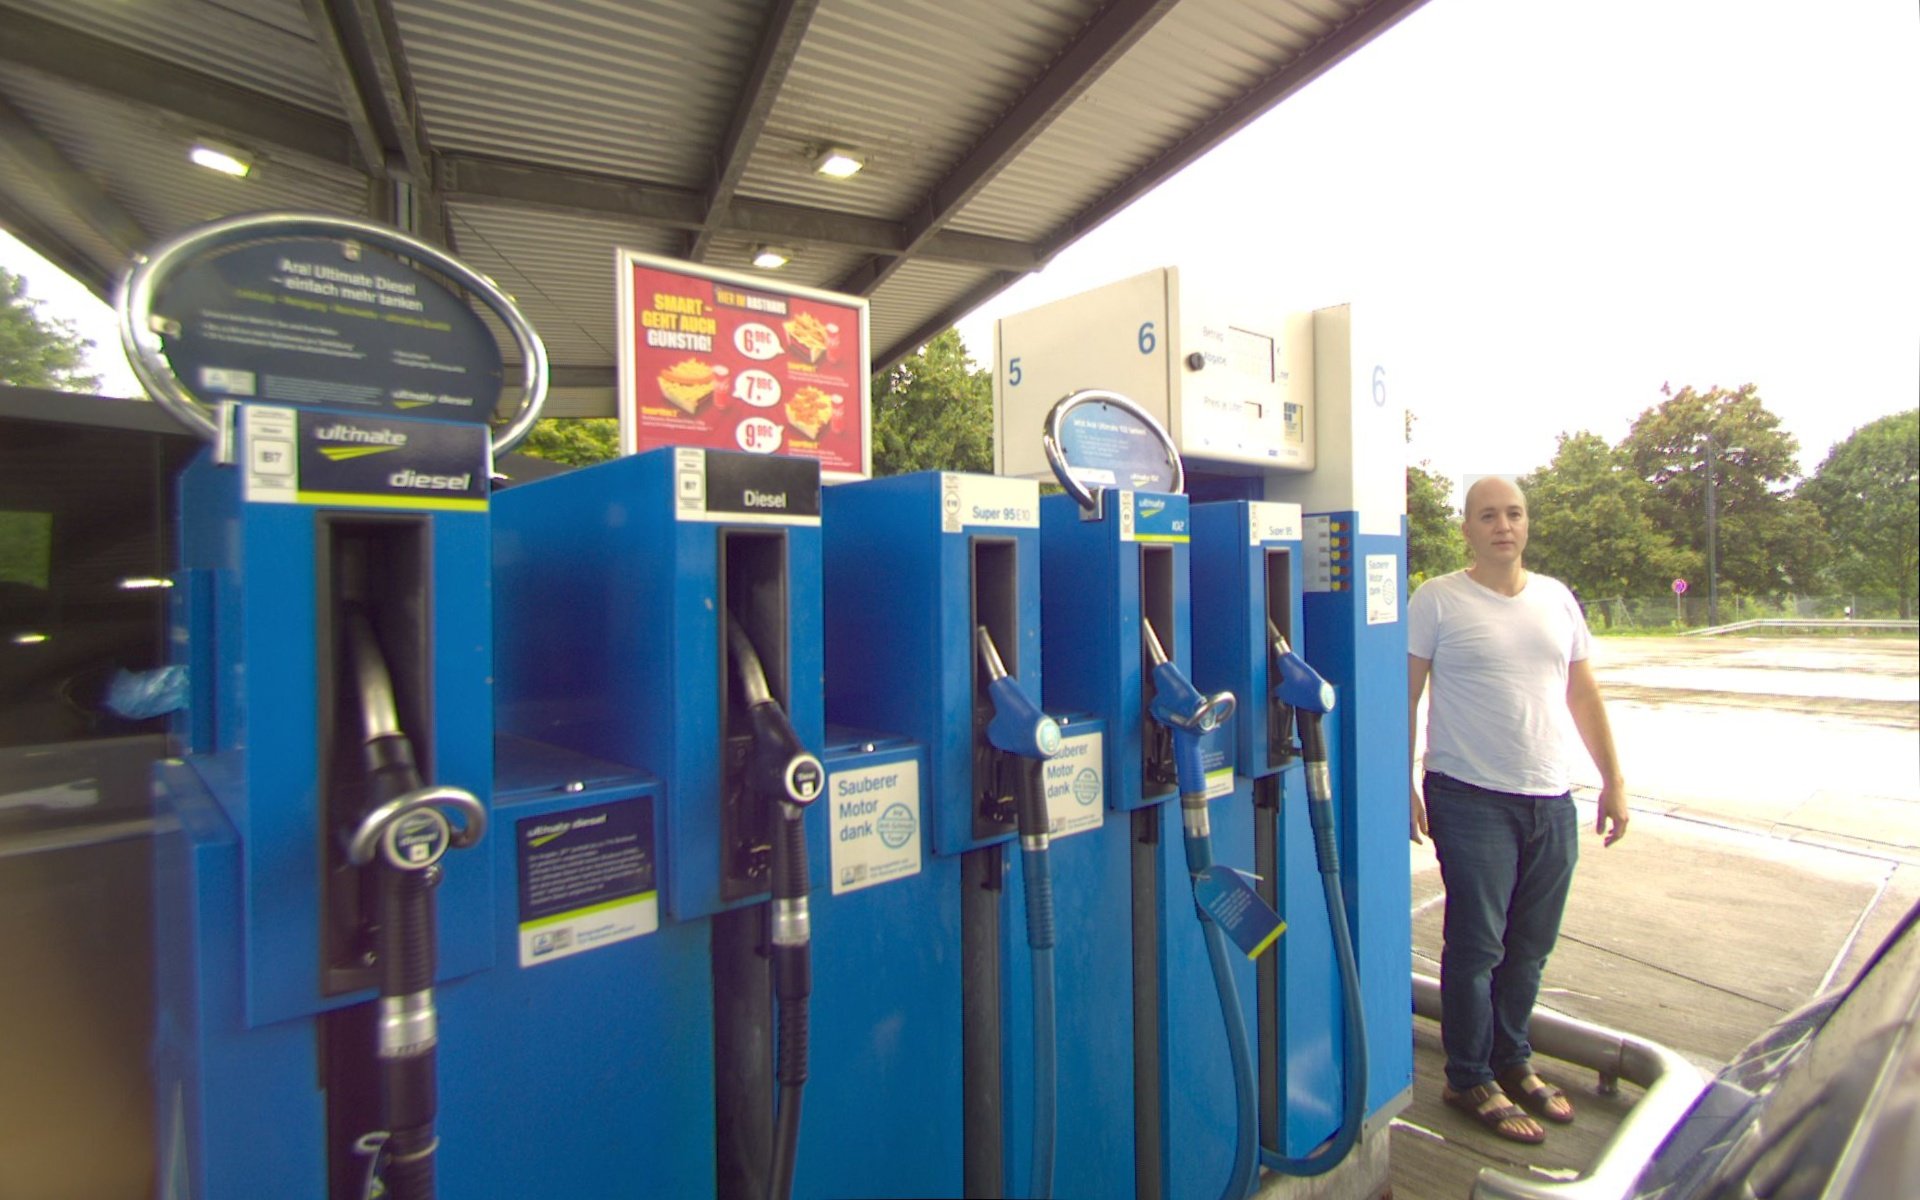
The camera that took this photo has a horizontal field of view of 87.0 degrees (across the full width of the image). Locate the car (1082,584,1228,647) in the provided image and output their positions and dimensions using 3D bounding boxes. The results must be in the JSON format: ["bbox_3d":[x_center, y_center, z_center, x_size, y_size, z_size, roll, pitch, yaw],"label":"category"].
[{"bbox_3d":[5.811,0.417,30.019,4.123,1.752,1.990,0,0,17],"label":"car"}]

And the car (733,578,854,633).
[{"bbox_3d":[-5.560,0.146,33.481,1.967,1.683,4.170,0,0,-44],"label":"car"}]

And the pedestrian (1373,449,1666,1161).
[{"bbox_3d":[1.637,0.518,2.974,0.621,1.832,0.495,-2,1,-31],"label":"pedestrian"}]

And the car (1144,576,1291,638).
[{"bbox_3d":[8.690,0.201,34.399,4.700,2.011,2.007,0,0,14],"label":"car"}]

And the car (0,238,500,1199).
[{"bbox_3d":[-3.020,0.407,1.484,3.930,1.973,1.819,0,0,-41],"label":"car"}]

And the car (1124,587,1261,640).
[{"bbox_3d":[7.400,0.401,32.153,4.123,1.576,1.990,1,0,17],"label":"car"}]
